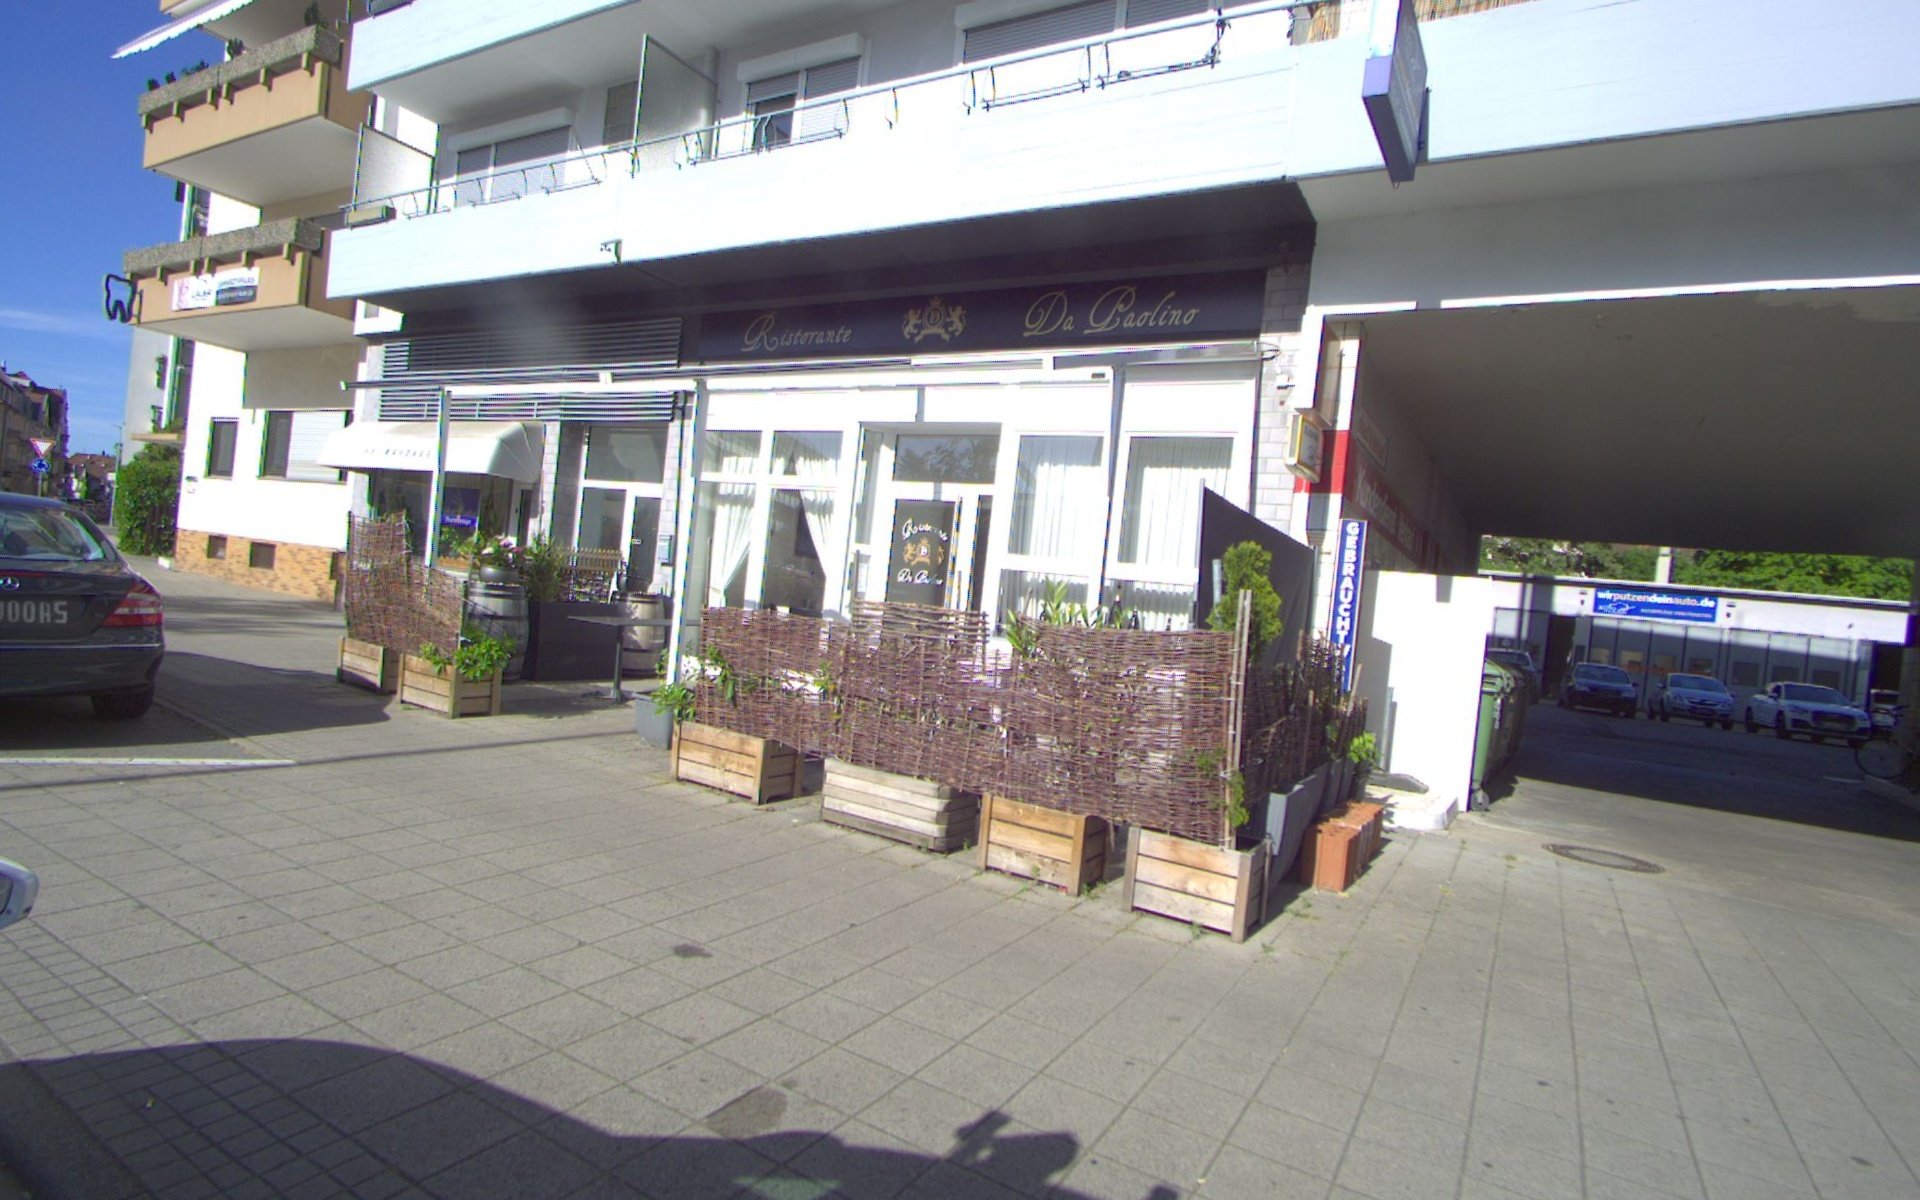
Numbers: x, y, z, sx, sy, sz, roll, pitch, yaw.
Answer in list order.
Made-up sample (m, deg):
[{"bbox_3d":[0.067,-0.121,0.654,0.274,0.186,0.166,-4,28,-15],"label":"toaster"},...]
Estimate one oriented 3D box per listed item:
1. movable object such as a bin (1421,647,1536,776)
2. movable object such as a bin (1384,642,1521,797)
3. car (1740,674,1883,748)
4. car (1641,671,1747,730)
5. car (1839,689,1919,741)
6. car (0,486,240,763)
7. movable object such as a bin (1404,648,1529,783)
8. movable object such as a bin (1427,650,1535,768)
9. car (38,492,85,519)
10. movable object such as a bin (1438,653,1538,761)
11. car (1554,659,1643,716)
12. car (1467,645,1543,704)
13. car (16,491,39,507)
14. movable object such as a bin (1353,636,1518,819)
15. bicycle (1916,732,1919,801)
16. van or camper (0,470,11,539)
[{"bbox_3d":[6.971,1.463,13.537,1.220,1.524,1.328,4,-1,28],"label":"movable object such as a bin"},{"bbox_3d":[5.411,1.265,11.014,1.143,1.484,1.332,4,-1,31],"label":"movable object such as a bin"},{"bbox_3d":[23.020,2.955,27.384,1.883,1.605,3.997,7,-1,26],"label":"car"},{"bbox_3d":[21.484,2.902,29.599,1.727,1.459,3.997,4,-2,26],"label":"car"},{"bbox_3d":[33.597,4.135,36.250,1.884,1.605,3.996,7,-1,28],"label":"car"},{"bbox_3d":[-6.978,-0.039,6.921,4.930,1.468,1.969,5,-1,39],"label":"car"},{"bbox_3d":[6.181,1.373,12.246,1.166,1.436,1.292,4,-2,33],"label":"movable object such as a bin"},{"bbox_3d":[7.664,1.568,14.765,1.221,1.524,1.327,4,-1,32],"label":"movable object such as a bin"},{"bbox_3d":[-75.907,-7.986,85.069,2.419,1.833,4.675,7,0,-37],"label":"car"},{"bbox_3d":[8.394,1.675,15.970,1.221,1.524,1.327,4,-1,32],"label":"movable object such as a bin"},{"bbox_3d":[19.274,2.633,30.519,1.727,1.459,3.997,4,-2,26],"label":"car"},{"bbox_3d":[17.002,2.323,31.305,1.720,1.592,3.356,4,-2,34],"label":"car"},{"bbox_3d":[-115.444,-12.547,124.573,1.626,1.676,3.632,6,0,-38],"label":"car"},{"bbox_3d":[4.642,1.179,9.763,1.244,1.518,1.464,4,-2,30],"label":"movable object such as a bin"},{"bbox_3d":[14.306,2.334,14.307,0.562,1.249,2.088,4,-3,32],"label":"bicycle"},{"bbox_3d":[-28.003,-2.753,27.740,2.008,1.973,4.656,4,1,-36],"label":"van or camper"}]
